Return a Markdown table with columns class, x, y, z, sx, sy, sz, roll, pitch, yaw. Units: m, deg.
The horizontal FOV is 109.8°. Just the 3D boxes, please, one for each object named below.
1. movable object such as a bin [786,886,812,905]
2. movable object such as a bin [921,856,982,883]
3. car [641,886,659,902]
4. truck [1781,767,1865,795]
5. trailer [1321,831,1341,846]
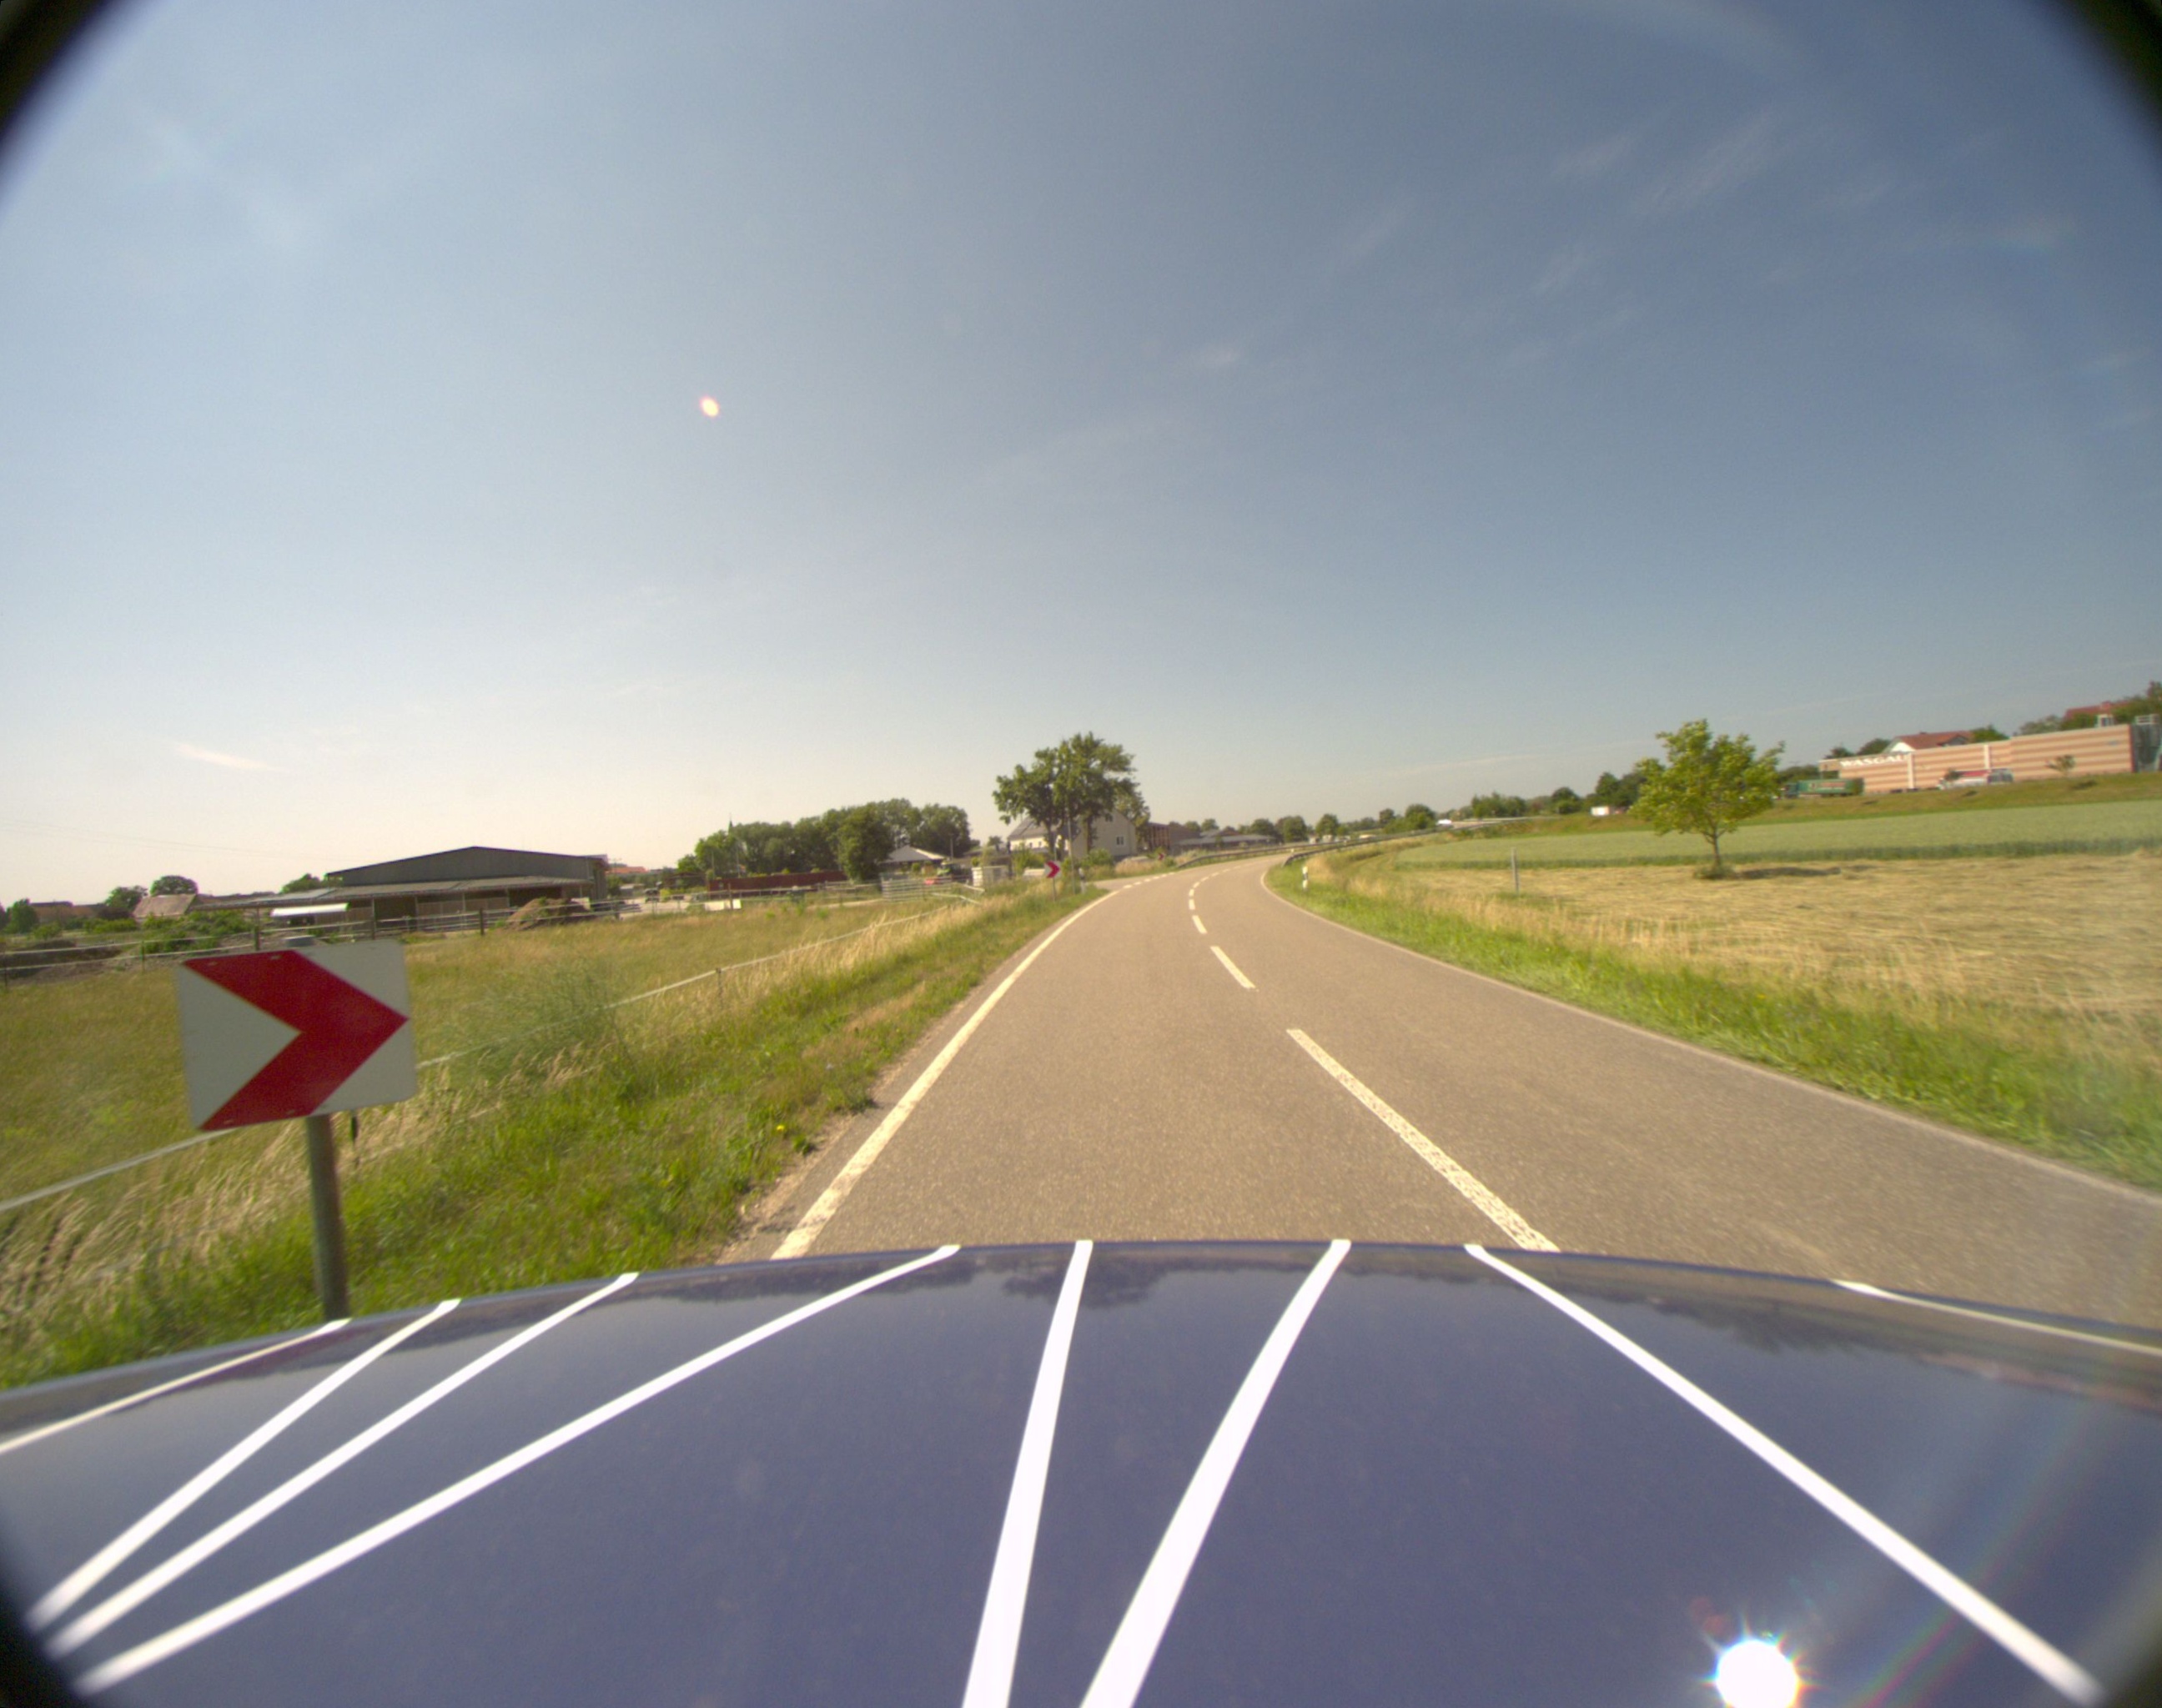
| class | x | y | z | sx | sy | sz | roll | pitch | yaw |
| --- | --- | --- | --- | --- | --- | --- | --- | --- | --- |
| movable object such as a bin | -22.484 | 3.328 | 60.542 | 1.519 | 1.341 | 1.370 | -5 | 1 | -38 |
| movable object such as a bin | -15.735 | 1.853 | 92.599 | 6.516 | 2.753 | 3.005 | -4 | -1 | -42 |
| car | -63.475 | 5.847 | 111.913 | 2.002 | 2.002 | 3.992 | -7 | 1 | -28 |
| truck | 127.222 | -12.423 | 130.503 | 2.880 | 3.457 | 9.926 | -7 | 1 | -22 |
| trailer | 52.837 | -3.290 | 160.944 | 2.233 | 2.848 | 5.043 | -4 | 0 | -3 |
